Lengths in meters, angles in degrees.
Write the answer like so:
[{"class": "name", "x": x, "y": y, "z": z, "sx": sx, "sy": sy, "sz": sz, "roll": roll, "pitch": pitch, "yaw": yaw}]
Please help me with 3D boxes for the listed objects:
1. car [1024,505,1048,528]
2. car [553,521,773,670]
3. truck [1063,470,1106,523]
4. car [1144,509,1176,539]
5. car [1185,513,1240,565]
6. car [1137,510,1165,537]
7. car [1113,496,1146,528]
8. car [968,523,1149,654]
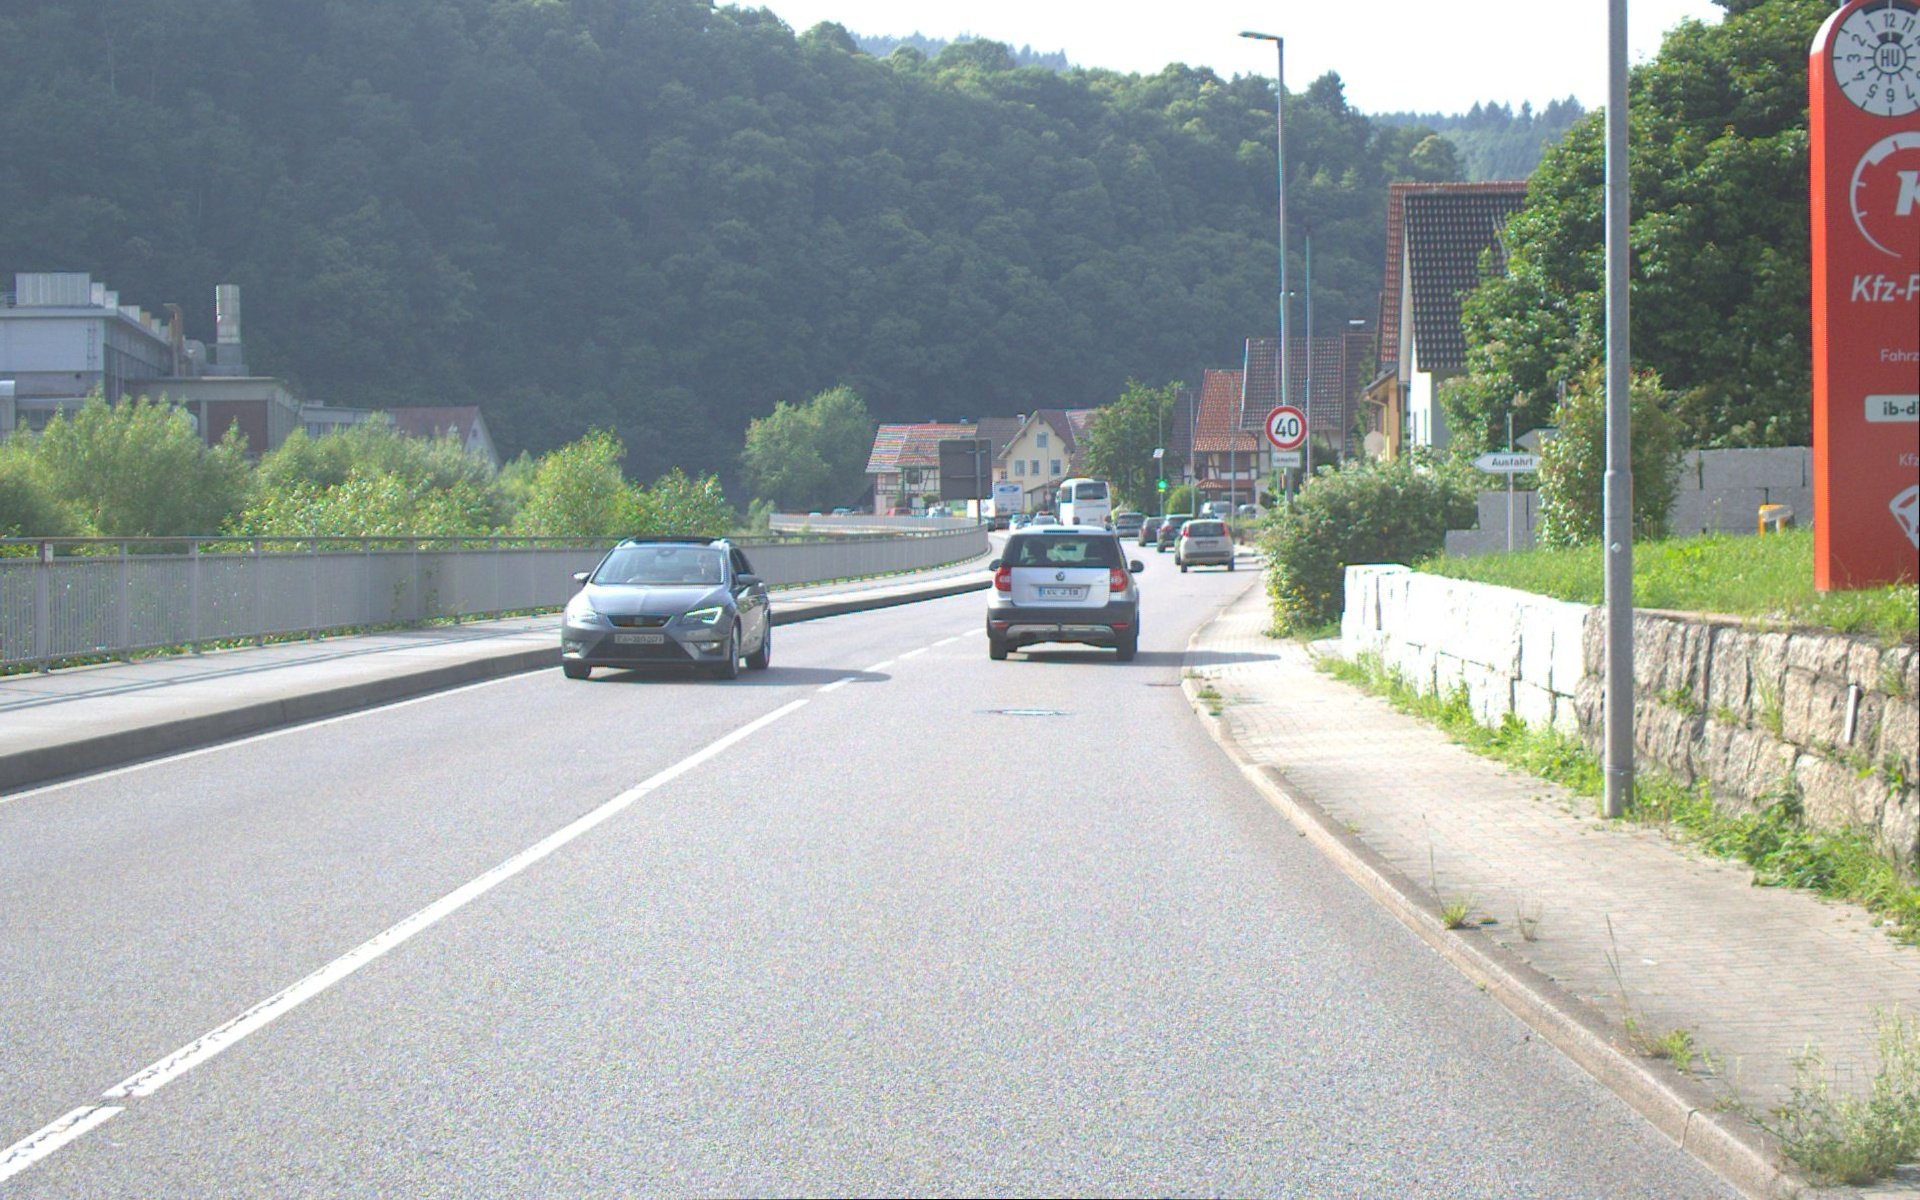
[{"class": "car", "x": 4.750, "y": -5.223, "z": 213.884, "sx": 1.433, "sy": 1.379, "sz": 3.135, "roll": 0, "pitch": 2, "yaw": 0}, {"class": "car", "x": -3.087, "y": -0.067, "z": 36.620, "sx": 1.813, "sy": 1.479, "sz": 4.798, "roll": 0, "pitch": 0, "yaw": 1}, {"class": "truck", "x": 8.184, "y": -6.818, "z": 225.886, "sx": 2.729, "sy": 3.363, "sz": 6.478, "roll": 0, "pitch": 2, "yaw": 2}, {"class": "car", "x": 8.688, "y": -3.283, "z": 149.122, "sx": 1.364, "sy": 1.273, "sz": 3.083, "roll": 0, "pitch": 0, "yaw": 3}, {"class": "car", "x": 7.668, "y": -1.846, "z": 104.086, "sx": 1.622, "sy": 1.536, "sz": 3.278, "roll": 0, "pitch": 0, "yaw": 5}, {"class": "car", "x": 9.374, "y": -3.755, "z": 168.754, "sx": 1.364, "sy": 1.273, "sz": 3.083, "roll": 0, "pitch": 0, "yaw": 3}, {"class": "car", "x": 9.624, "y": -5.018, "z": 195.007, "sx": 1.674, "sy": 1.746, "sz": 3.448, "roll": 0, "pitch": 2, "yaw": 6}, {"class": "car", "x": 1.278, "y": -0.176, "z": 42.667, "sx": 1.861, "sy": 1.539, "sz": 4.372, "roll": 0, "pitch": 1, "yaw": 7}]
